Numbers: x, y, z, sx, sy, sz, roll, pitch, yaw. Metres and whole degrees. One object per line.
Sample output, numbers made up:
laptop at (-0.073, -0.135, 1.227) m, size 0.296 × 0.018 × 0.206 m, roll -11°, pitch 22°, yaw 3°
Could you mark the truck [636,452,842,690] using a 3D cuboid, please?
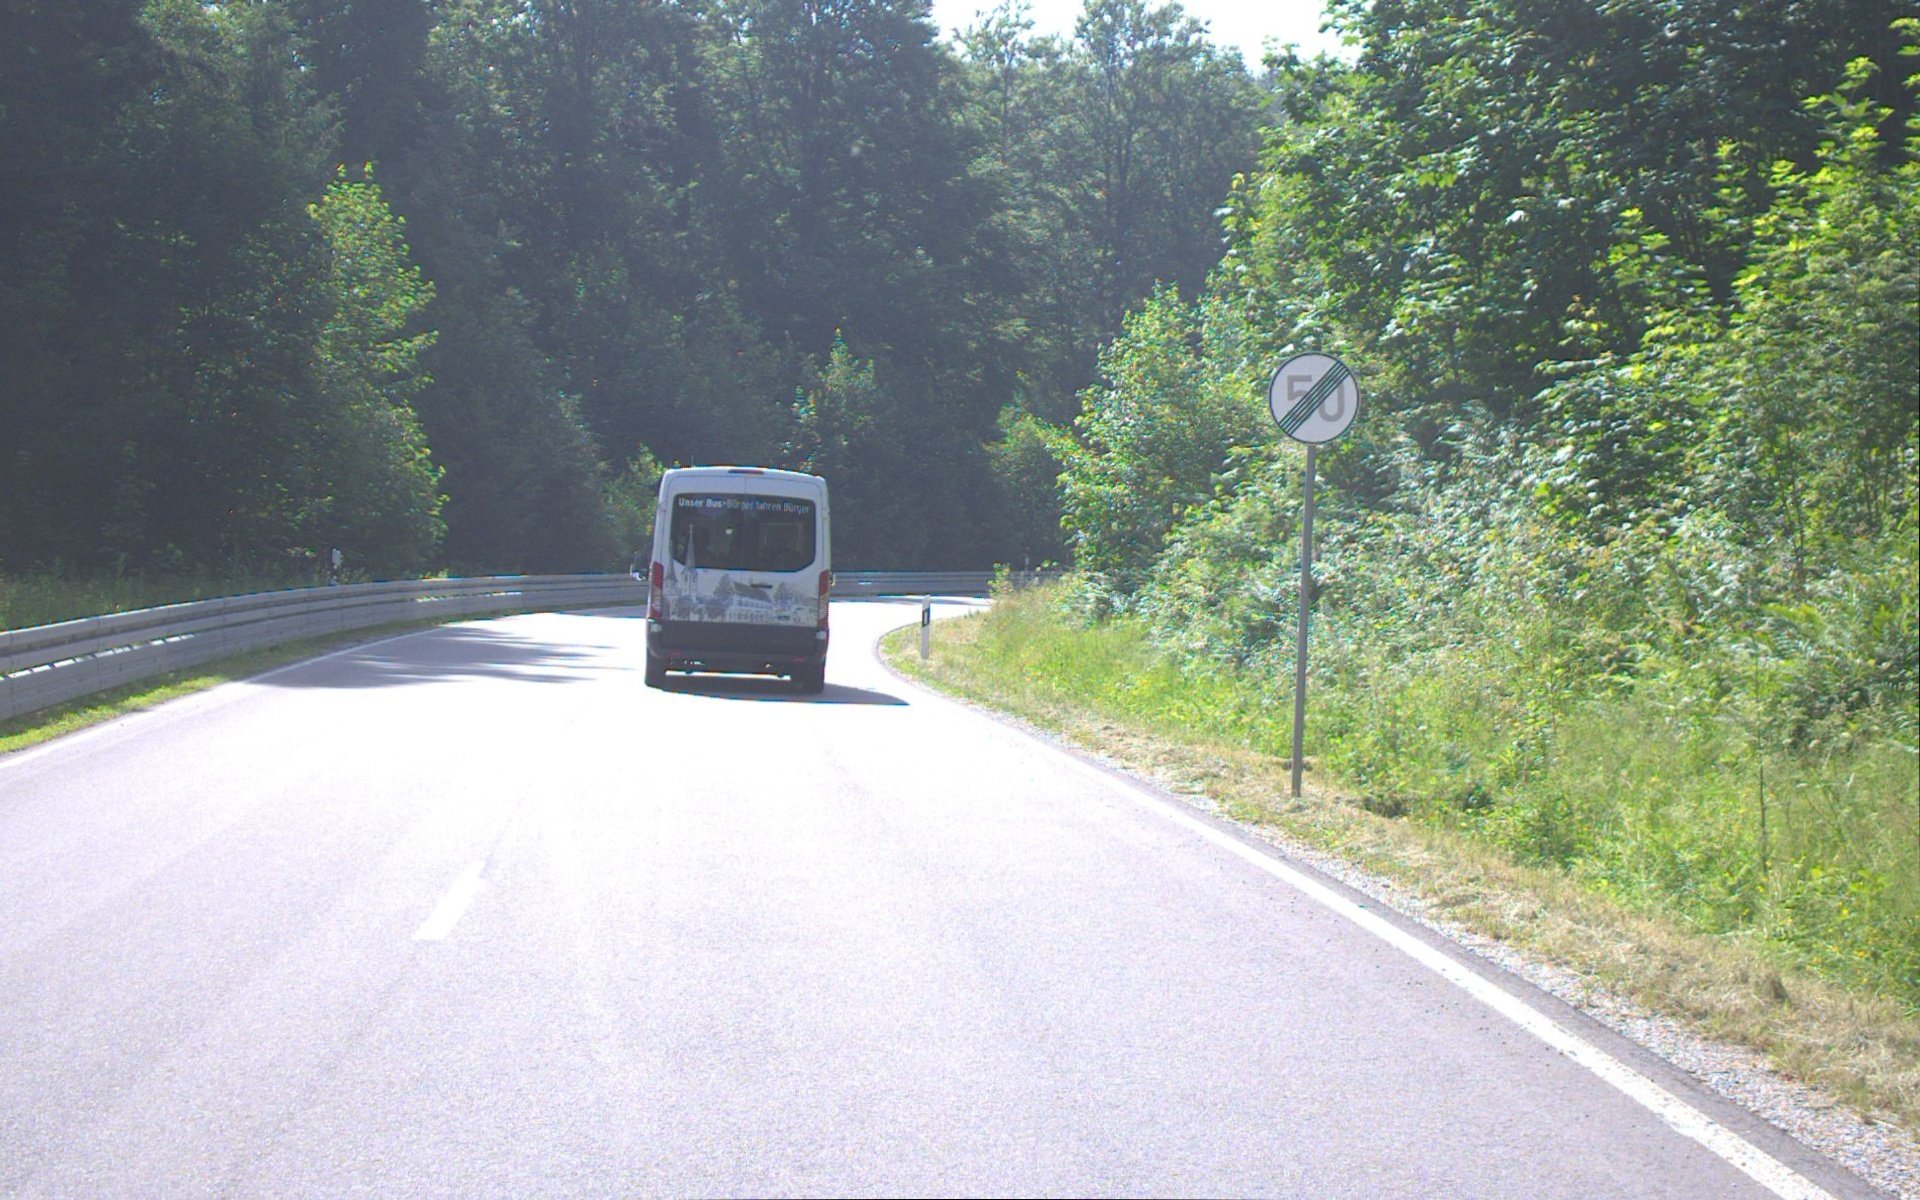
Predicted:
truck at (-2.629, -0.360, 39.770) m, size 2.115 × 2.489 × 5.360 m, roll 2°, pitch 1°, yaw -5°
